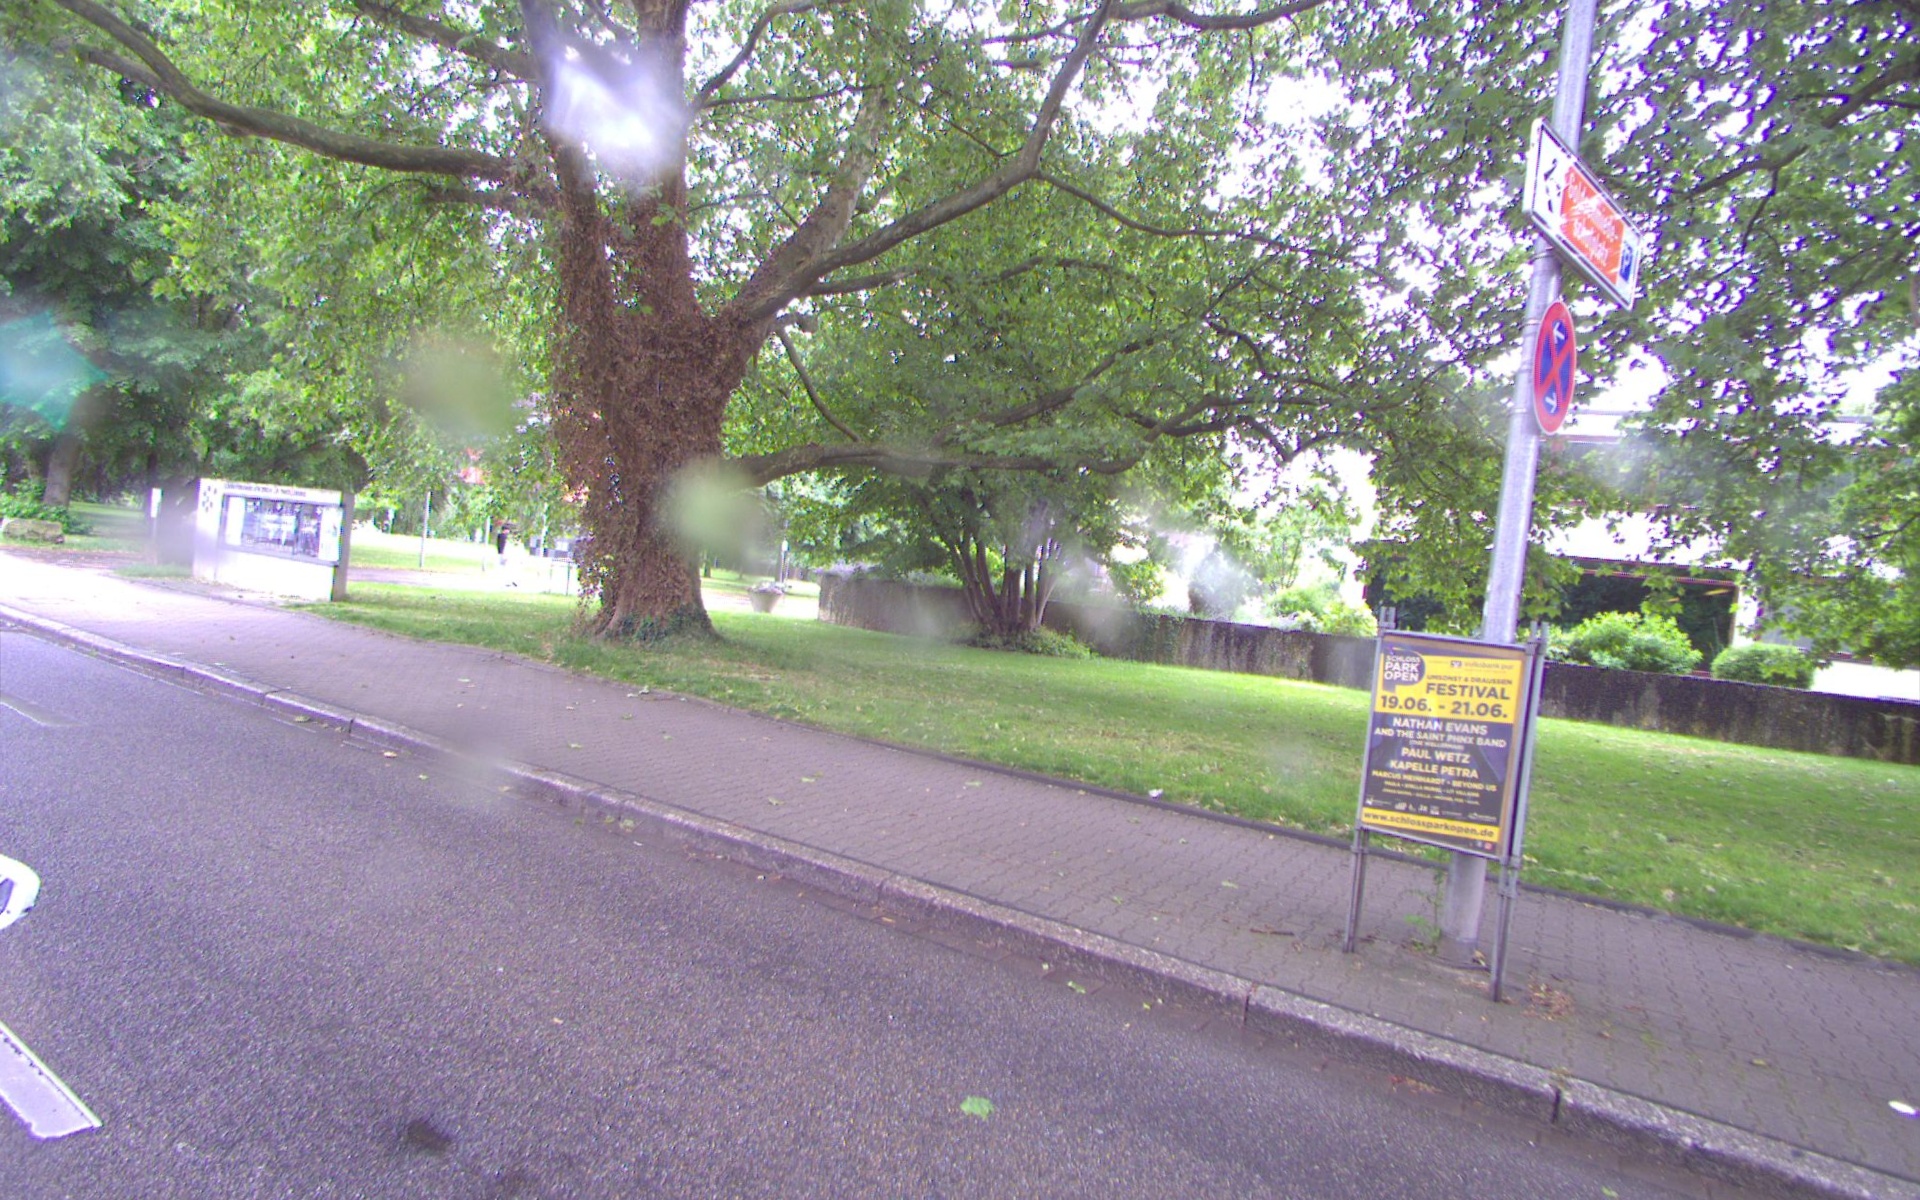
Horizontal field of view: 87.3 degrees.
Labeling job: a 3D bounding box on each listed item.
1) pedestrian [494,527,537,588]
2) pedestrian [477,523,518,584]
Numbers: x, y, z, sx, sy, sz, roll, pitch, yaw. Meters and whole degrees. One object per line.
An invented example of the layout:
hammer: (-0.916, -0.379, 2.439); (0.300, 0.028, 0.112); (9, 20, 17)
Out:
pedestrian: (-13.614, -1.309, 30.833); (0.776, 1.732, 0.666); (7, -1, 23)
pedestrian: (-14.520, -1.454, 31.613); (0.711, 1.776, 0.666); (7, -1, 23)
